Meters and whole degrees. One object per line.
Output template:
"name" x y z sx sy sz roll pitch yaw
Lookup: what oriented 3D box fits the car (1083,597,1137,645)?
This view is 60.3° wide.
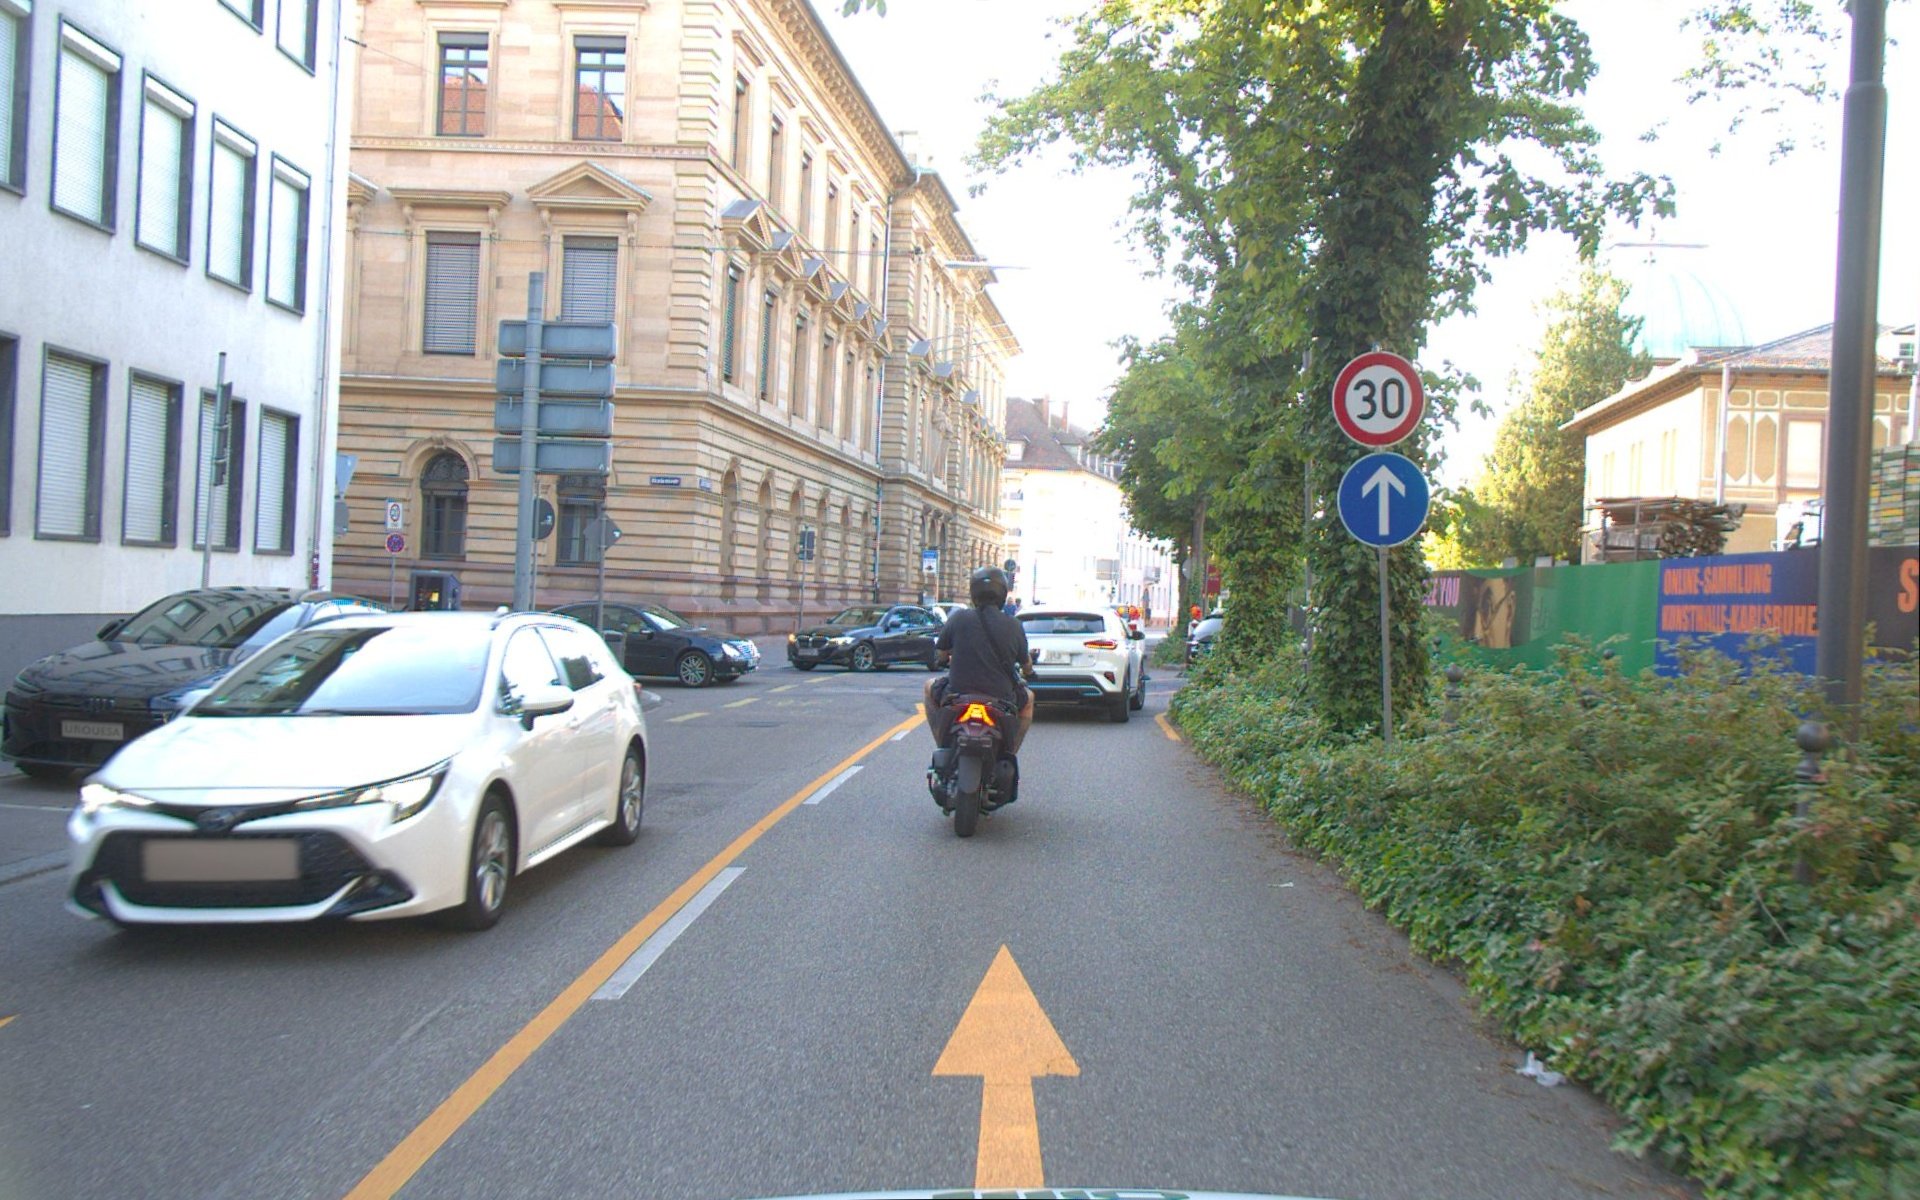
"car" 5.687 0.778 63.015 1.951 1.724 4.401 1 0 4

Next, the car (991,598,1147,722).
"car" 1.571 0.736 22.458 1.811 1.506 4.061 0 0 8

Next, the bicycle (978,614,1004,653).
"bicycle" 0.895 0.960 47.511 0.570 1.053 2.130 1 0 6

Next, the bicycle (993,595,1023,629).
"bicycle" 1.522 0.382 52.445 0.521 1.053 1.908 1 0 14

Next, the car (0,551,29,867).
"car" -6.110 0.568 6.925 1.894 1.696 4.347 2 0 0

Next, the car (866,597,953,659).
"car" -1.348 0.742 46.106 1.951 1.594 4.291 1 0 4

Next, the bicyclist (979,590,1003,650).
"bicyclist" 0.893 0.577 47.310 0.554 1.696 0.835 1 0 7

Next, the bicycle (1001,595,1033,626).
"bicycle" 1.998 0.348 57.989 0.522 1.053 2.036 1 0 20

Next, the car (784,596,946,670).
"car" -1.988 0.683 36.229 1.734 1.486 4.468 1 0 23

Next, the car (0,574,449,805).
"car" -6.017 0.621 14.050 1.786 1.530 4.760 3 0 0

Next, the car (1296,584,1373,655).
"car" 11.281 0.573 50.056 1.801 1.945 4.060 3 0 7

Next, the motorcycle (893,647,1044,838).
"motorcycle" 0.094 0.900 11.032 0.780 1.084 1.726 3 0 6

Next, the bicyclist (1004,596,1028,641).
"bicyclist" 1.958 0.648 58.021 0.615 1.581 0.732 1 0 20

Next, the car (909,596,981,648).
"car" -0.426 0.678 53.375 1.951 1.555 4.186 1 0 4

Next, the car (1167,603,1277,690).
"car" 5.185 0.870 32.333 1.801 1.489 4.060 3 0 13

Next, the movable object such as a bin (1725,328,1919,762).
"movable object such as a bin" 11.855 -0.556 18.399 3.238 4.618 7.907 1 0 3

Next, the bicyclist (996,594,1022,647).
"bicyclist" 1.565 0.634 52.419 0.615 1.642 0.870 1 0 14

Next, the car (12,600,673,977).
"car" -2.836 0.751 8.767 1.699 1.446 4.430 -1 0 2

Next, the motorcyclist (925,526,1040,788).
"motorcyclist" 0.164 0.373 11.159 0.643 1.679 0.651 3 0 5

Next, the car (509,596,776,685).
"car" -5.527 0.681 28.994 4.221 1.414 1.777 1 0 10
